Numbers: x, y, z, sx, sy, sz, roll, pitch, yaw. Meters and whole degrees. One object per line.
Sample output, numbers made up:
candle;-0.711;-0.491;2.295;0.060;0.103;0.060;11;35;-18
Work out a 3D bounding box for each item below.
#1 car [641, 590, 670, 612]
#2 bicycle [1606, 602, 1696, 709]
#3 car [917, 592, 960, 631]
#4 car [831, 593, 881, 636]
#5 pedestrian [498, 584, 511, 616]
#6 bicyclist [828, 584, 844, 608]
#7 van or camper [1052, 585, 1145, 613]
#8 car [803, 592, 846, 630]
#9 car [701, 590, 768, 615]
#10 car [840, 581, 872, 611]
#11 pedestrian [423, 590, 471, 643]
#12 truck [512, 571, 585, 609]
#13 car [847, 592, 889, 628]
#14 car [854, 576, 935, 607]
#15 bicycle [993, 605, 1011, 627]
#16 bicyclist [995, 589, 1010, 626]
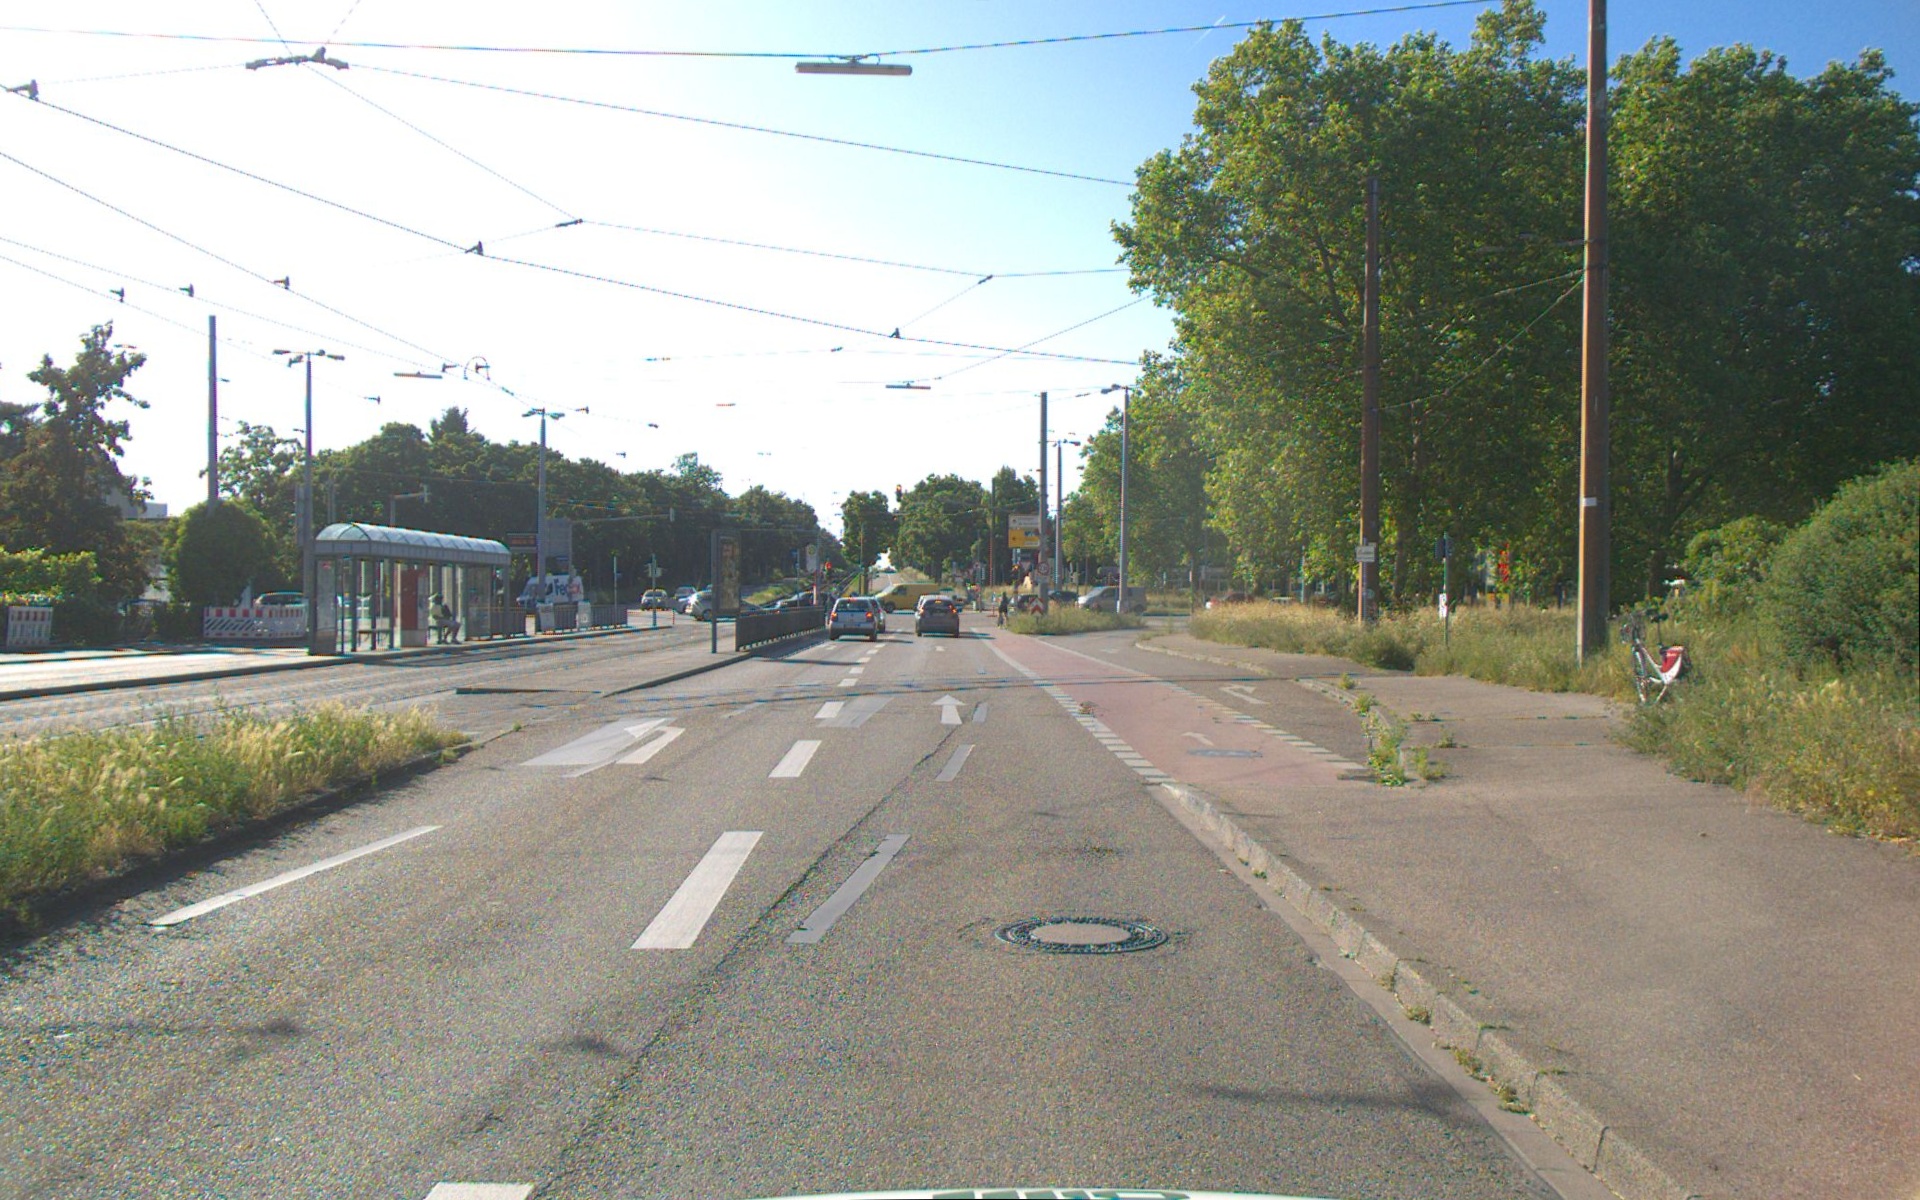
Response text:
car;-21.744;0.073;118.200;1.797;1.575;3.994;0;0;-7
bicycle;7.949;0.607;19.091;0.357;1.155;2.097;0;0;6
car;-0.866;0.456;65.331;1.635;1.487;3.585;0;0;-2
car;-3.600;0.503;57.765;1.586;1.442;3.350;0;0;-1
pedestrian;-28.583;0.002;103.828;0.735;2.049;0.789;0;0;-13
bicyclist;-8.857;-0.293;117.907;0.991;1.676;0.813;0;0;-19
van or camper;9.100;-0.063;108.998;5.851;1.860;1.998;0;0;-5
car;-5.885;0.454;72.138;1.578;1.590;4.287;0;0;-1
car;-14.431;0.176;105.711;3.932;1.499;1.740;2;-1;-23
car;-7.268;-0.254;116.265;1.953;2.049;4.491;1;0;-1
pedestrian;-14.424;0.462;46.548;1.039;1.478;1.007;-1;-1;-1
truck;-28.733;-0.688;115.780;1.951;2.610;6.828;0;0;14
car;-3.926;0.424;70.984;1.586;1.482;4.084;1;0;-1
car;-4.385;-0.588;110.864;5.095;1.912;1.982;2;-1;-28
bicycle;2.025;0.755;79.535;0.707;1.006;2.875;1;0;-1
bicyclist;2.038;0.341;79.458;0.652;1.746;0.948;1;-1;-1
